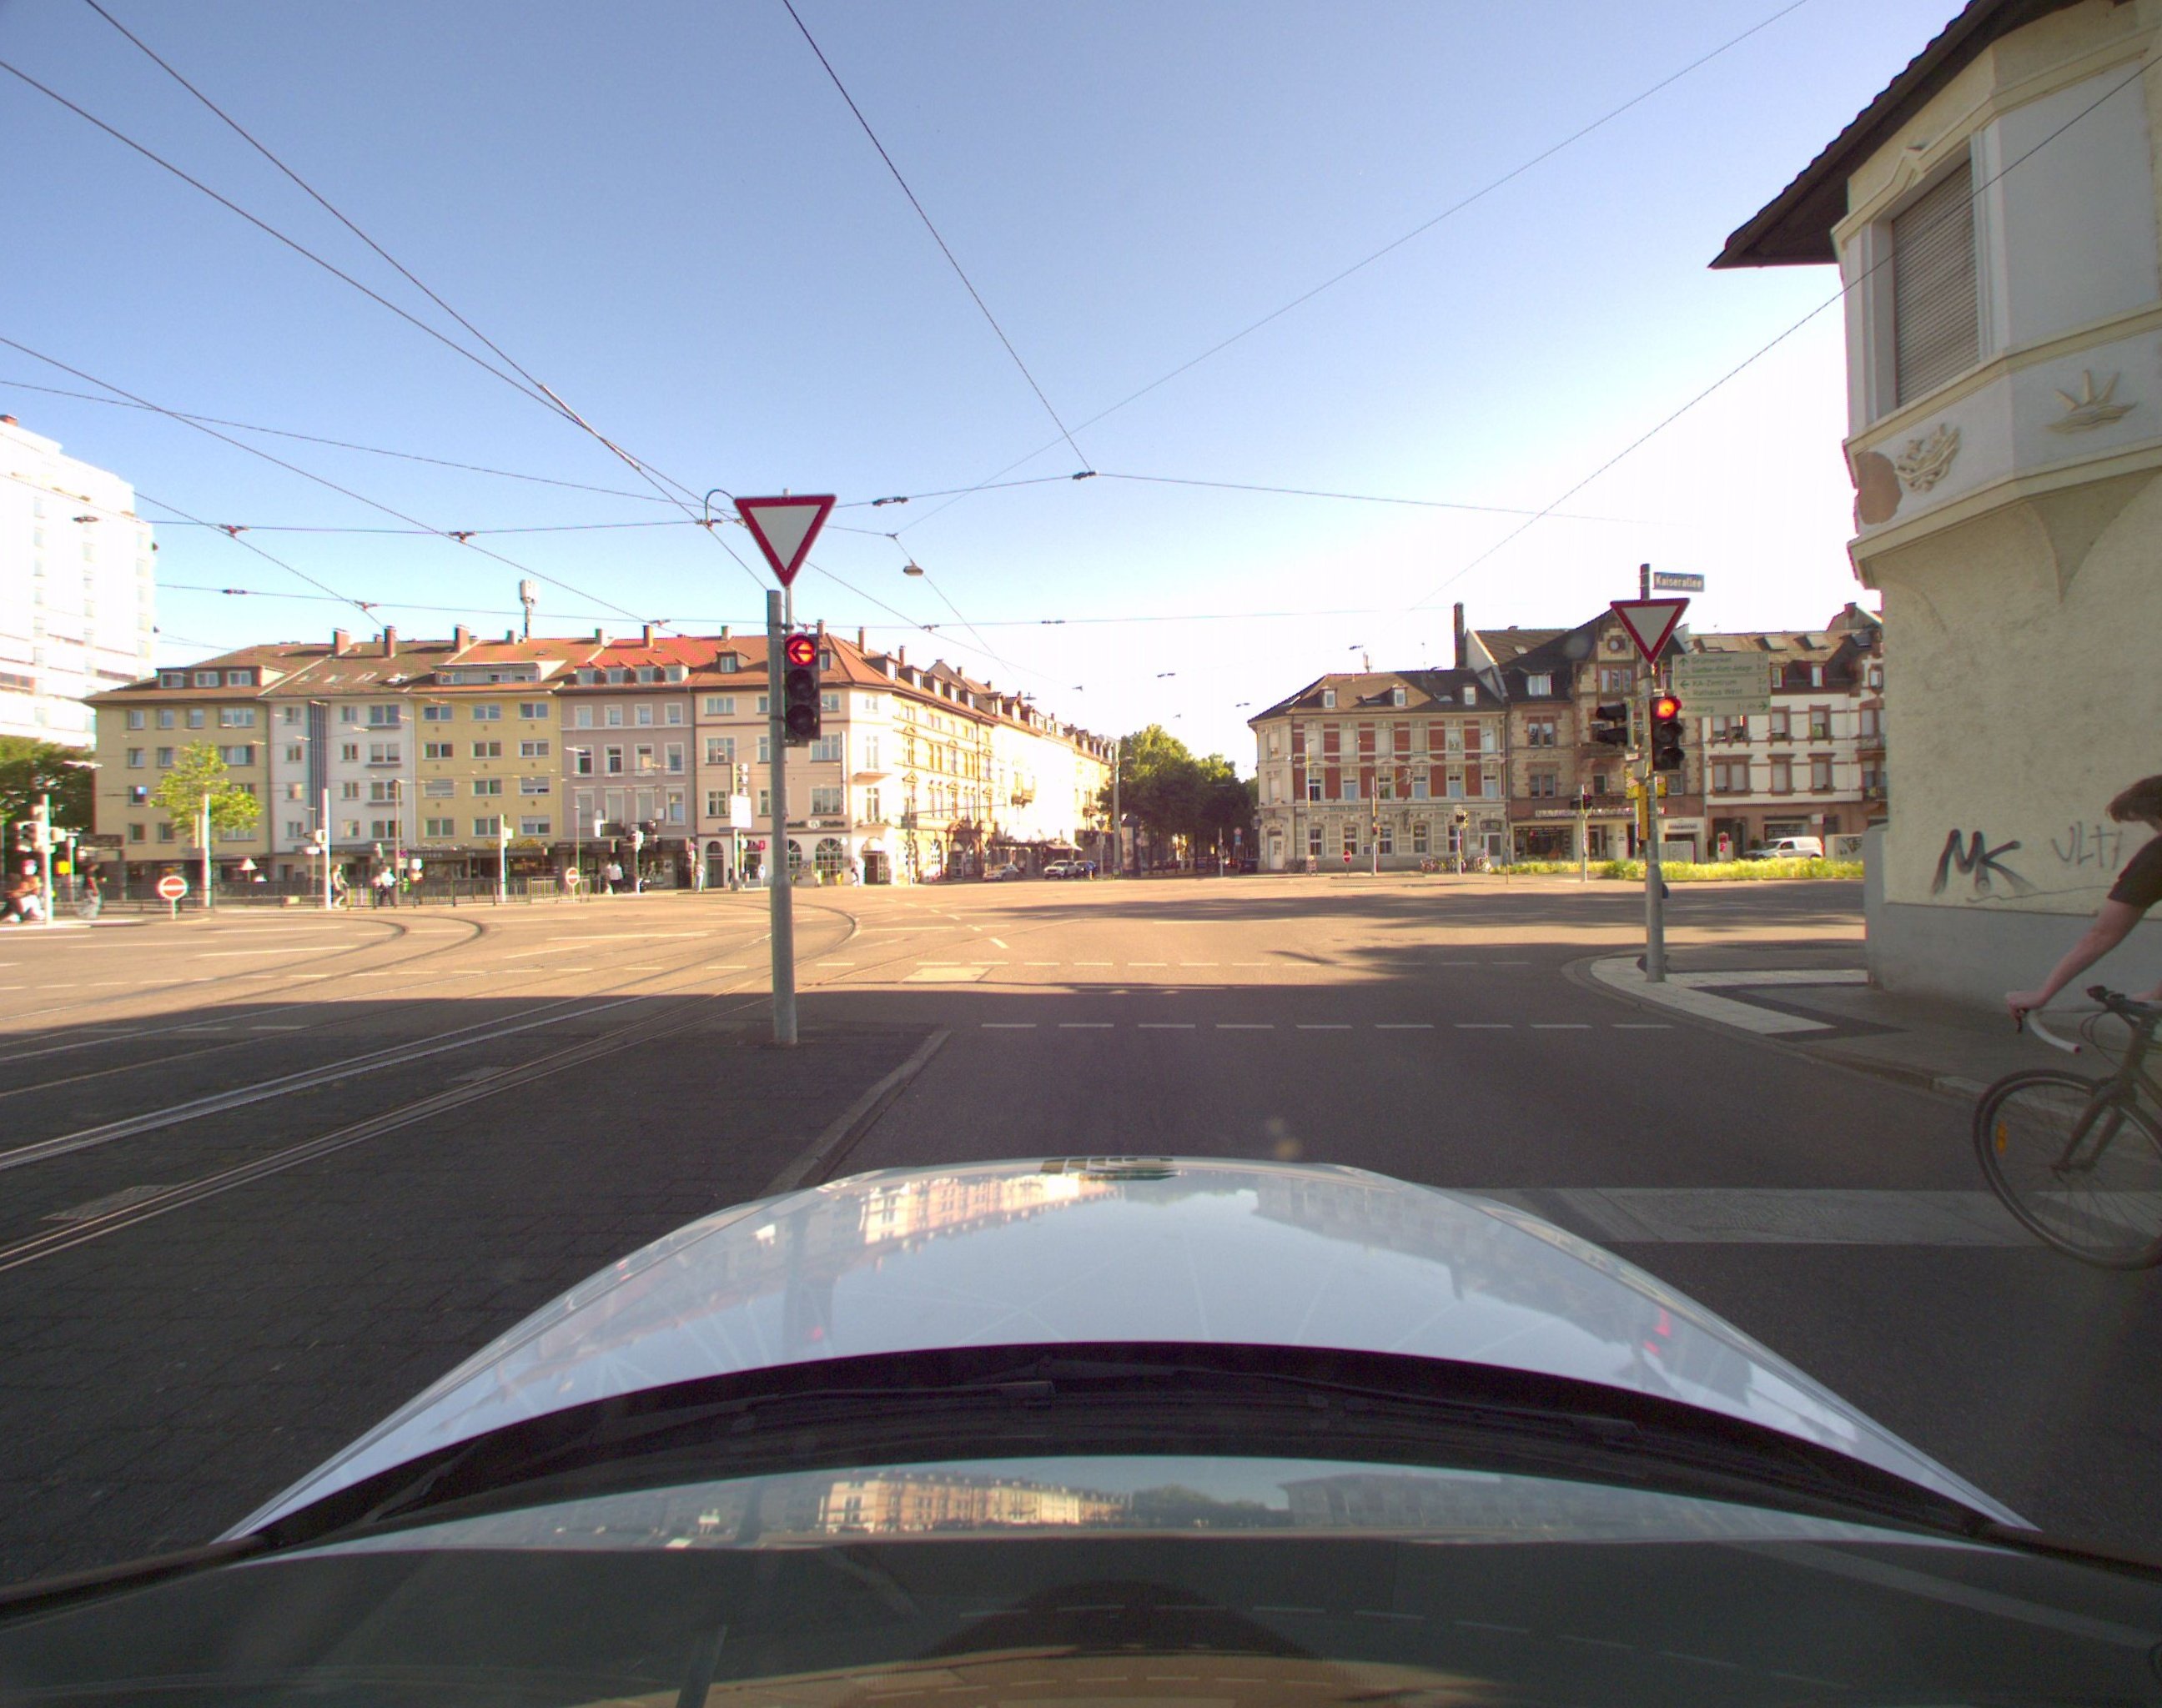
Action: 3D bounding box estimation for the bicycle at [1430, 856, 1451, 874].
[{"bbox_3d":[23.281,0.699,52.836,0.615,1.143,2.178,-2,0,7],"label":"bicycle"}]

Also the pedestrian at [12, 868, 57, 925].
[{"bbox_3d":[-33.851,1.355,26.356,0.795,1.771,0.671,-1,-1,-43],"label":"pedestrian"}]

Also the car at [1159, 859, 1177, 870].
[{"bbox_3d":[13.911,1.706,130.330,1.822,1.552,4.412,-2,0,19],"label":"car"}]

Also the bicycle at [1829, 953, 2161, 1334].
[{"bbox_3d":[3.620,0.951,2.667,0.642,1.010,1.930,-2,0,4],"label":"bicycle"}]

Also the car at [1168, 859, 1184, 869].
[{"bbox_3d":[15.828,1.726,136.164,1.750,1.549,4.411,-2,0,18],"label":"car"}]

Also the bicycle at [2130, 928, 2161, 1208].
[{"bbox_3d":[4.540,0.861,2.442,0.516,1.116,1.815,-2,0,4],"label":"bicycle"}]

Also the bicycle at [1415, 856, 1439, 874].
[{"bbox_3d":[22.503,0.708,52.985,0.802,1.143,2.178,-2,0,7],"label":"bicycle"}]

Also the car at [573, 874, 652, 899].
[{"bbox_3d":[-30.617,2.137,53.330,3.974,1.453,2.000,-1,0,-1],"label":"car"}]

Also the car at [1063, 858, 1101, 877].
[{"bbox_3d":[0.118,1.220,74.012,1.977,1.612,4.413,-2,0,20],"label":"car"}]

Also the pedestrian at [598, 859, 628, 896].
[{"bbox_3d":[-23.215,1.149,40.406,0.935,1.756,0.935,-1,0,1],"label":"pedestrian"}]

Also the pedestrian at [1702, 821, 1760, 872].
[{"bbox_3d":[27.117,-0.299,33.998,1.314,2.044,1.307,-2,0,1],"label":"pedestrian"}]

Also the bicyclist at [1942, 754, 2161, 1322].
[{"bbox_3d":[3.605,0.564,2.590,0.559,1.754,1.102,-2,0,4],"label":"bicyclist"}]

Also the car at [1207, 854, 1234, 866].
[{"bbox_3d":[22.829,0.977,133.300,3.948,1.706,2.013,-2,0,32],"label":"car"}]

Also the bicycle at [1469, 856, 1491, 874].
[{"bbox_3d":[25.758,0.697,52.598,0.606,1.136,2.139,-2,0,7],"label":"bicycle"}]

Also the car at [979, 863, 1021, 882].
[{"bbox_3d":[-6.681,1.522,67.377,1.883,1.455,4.020,-2,0,20],"label":"car"}]

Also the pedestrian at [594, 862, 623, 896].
[{"bbox_3d":[-24.703,1.294,42.610,0.935,1.756,0.935,-1,0,1],"label":"pedestrian"}]

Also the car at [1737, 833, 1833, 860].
[{"bbox_3d":[45.361,-0.469,52.554,4.317,1.640,2.152,-2,0,1],"label":"car"}]

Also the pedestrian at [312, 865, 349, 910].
[{"bbox_3d":[-28.285,1.245,30.677,0.817,1.655,0.957,-2,-1,44],"label":"pedestrian"}]

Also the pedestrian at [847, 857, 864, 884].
[{"bbox_3d":[-15.107,1.111,54.633,1.048,1.744,0.804,-1,0,-16],"label":"pedestrian"}]

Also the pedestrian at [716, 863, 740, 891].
[{"bbox_3d":[-23.001,1.502,53.098,0.998,1.775,0.945,-2,0,16],"label":"pedestrian"}]

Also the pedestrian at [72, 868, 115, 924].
[{"bbox_3d":[-32.159,1.344,26.544,0.795,1.771,0.671,-1,-1,-43],"label":"pedestrian"}]

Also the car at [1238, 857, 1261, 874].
[{"bbox_3d":[17.016,1.146,82.213,1.978,1.585,4.017,-2,0,16],"label":"car"}]

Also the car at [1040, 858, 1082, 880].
[{"bbox_3d":[-1.606,1.253,67.535,1.977,1.684,4.413,-2,0,20],"label":"car"}]

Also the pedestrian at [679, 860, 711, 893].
[{"bbox_3d":[-20.125,1.151,42.459,1.076,1.685,1.104,-2,0,1],"label":"pedestrian"}]

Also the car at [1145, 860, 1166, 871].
[{"bbox_3d":[11.253,1.736,122.597,1.977,1.612,4.413,-2,0,20],"label":"car"}]

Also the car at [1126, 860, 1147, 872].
[{"bbox_3d":[7.533,1.672,110.978,1.978,1.486,4.017,-1,0,16],"label":"car"}]

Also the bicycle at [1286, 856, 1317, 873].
[{"bbox_3d":[15.502,0.728,57.187,2.081,1.124,0.366,0,-1,-3],"label":"bicycle"}]

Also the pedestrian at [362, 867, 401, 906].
[{"bbox_3d":[-27.167,1.247,31.634,0.814,1.454,0.937,-2,0,34],"label":"pedestrian"}]

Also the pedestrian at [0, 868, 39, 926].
[{"bbox_3d":[-33.500,1.346,25.591,0.795,1.771,0.864,-1,-1,-43],"label":"pedestrian"}]

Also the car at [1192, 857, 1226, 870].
[{"bbox_3d":[18.057,1.326,115.103,4.335,1.612,2.012,-2,0,28],"label":"car"}]

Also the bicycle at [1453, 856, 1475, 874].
[{"bbox_3d":[24.781,0.717,52.688,0.615,1.143,2.178,-2,0,7],"label":"bicycle"}]

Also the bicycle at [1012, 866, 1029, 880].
[{"bbox_3d":[-4.815,1.513,65.291,0.675,1.066,2.133,-2,0,14],"label":"bicycle"}]

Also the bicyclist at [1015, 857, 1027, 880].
[{"bbox_3d":[-4.810,1.133,65.335,0.674,1.820,1.075,-2,0,14],"label":"bicyclist"}]

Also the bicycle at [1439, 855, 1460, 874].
[{"bbox_3d":[23.861,0.679,52.783,0.615,1.143,2.178,-2,0,7],"label":"bicycle"}]
